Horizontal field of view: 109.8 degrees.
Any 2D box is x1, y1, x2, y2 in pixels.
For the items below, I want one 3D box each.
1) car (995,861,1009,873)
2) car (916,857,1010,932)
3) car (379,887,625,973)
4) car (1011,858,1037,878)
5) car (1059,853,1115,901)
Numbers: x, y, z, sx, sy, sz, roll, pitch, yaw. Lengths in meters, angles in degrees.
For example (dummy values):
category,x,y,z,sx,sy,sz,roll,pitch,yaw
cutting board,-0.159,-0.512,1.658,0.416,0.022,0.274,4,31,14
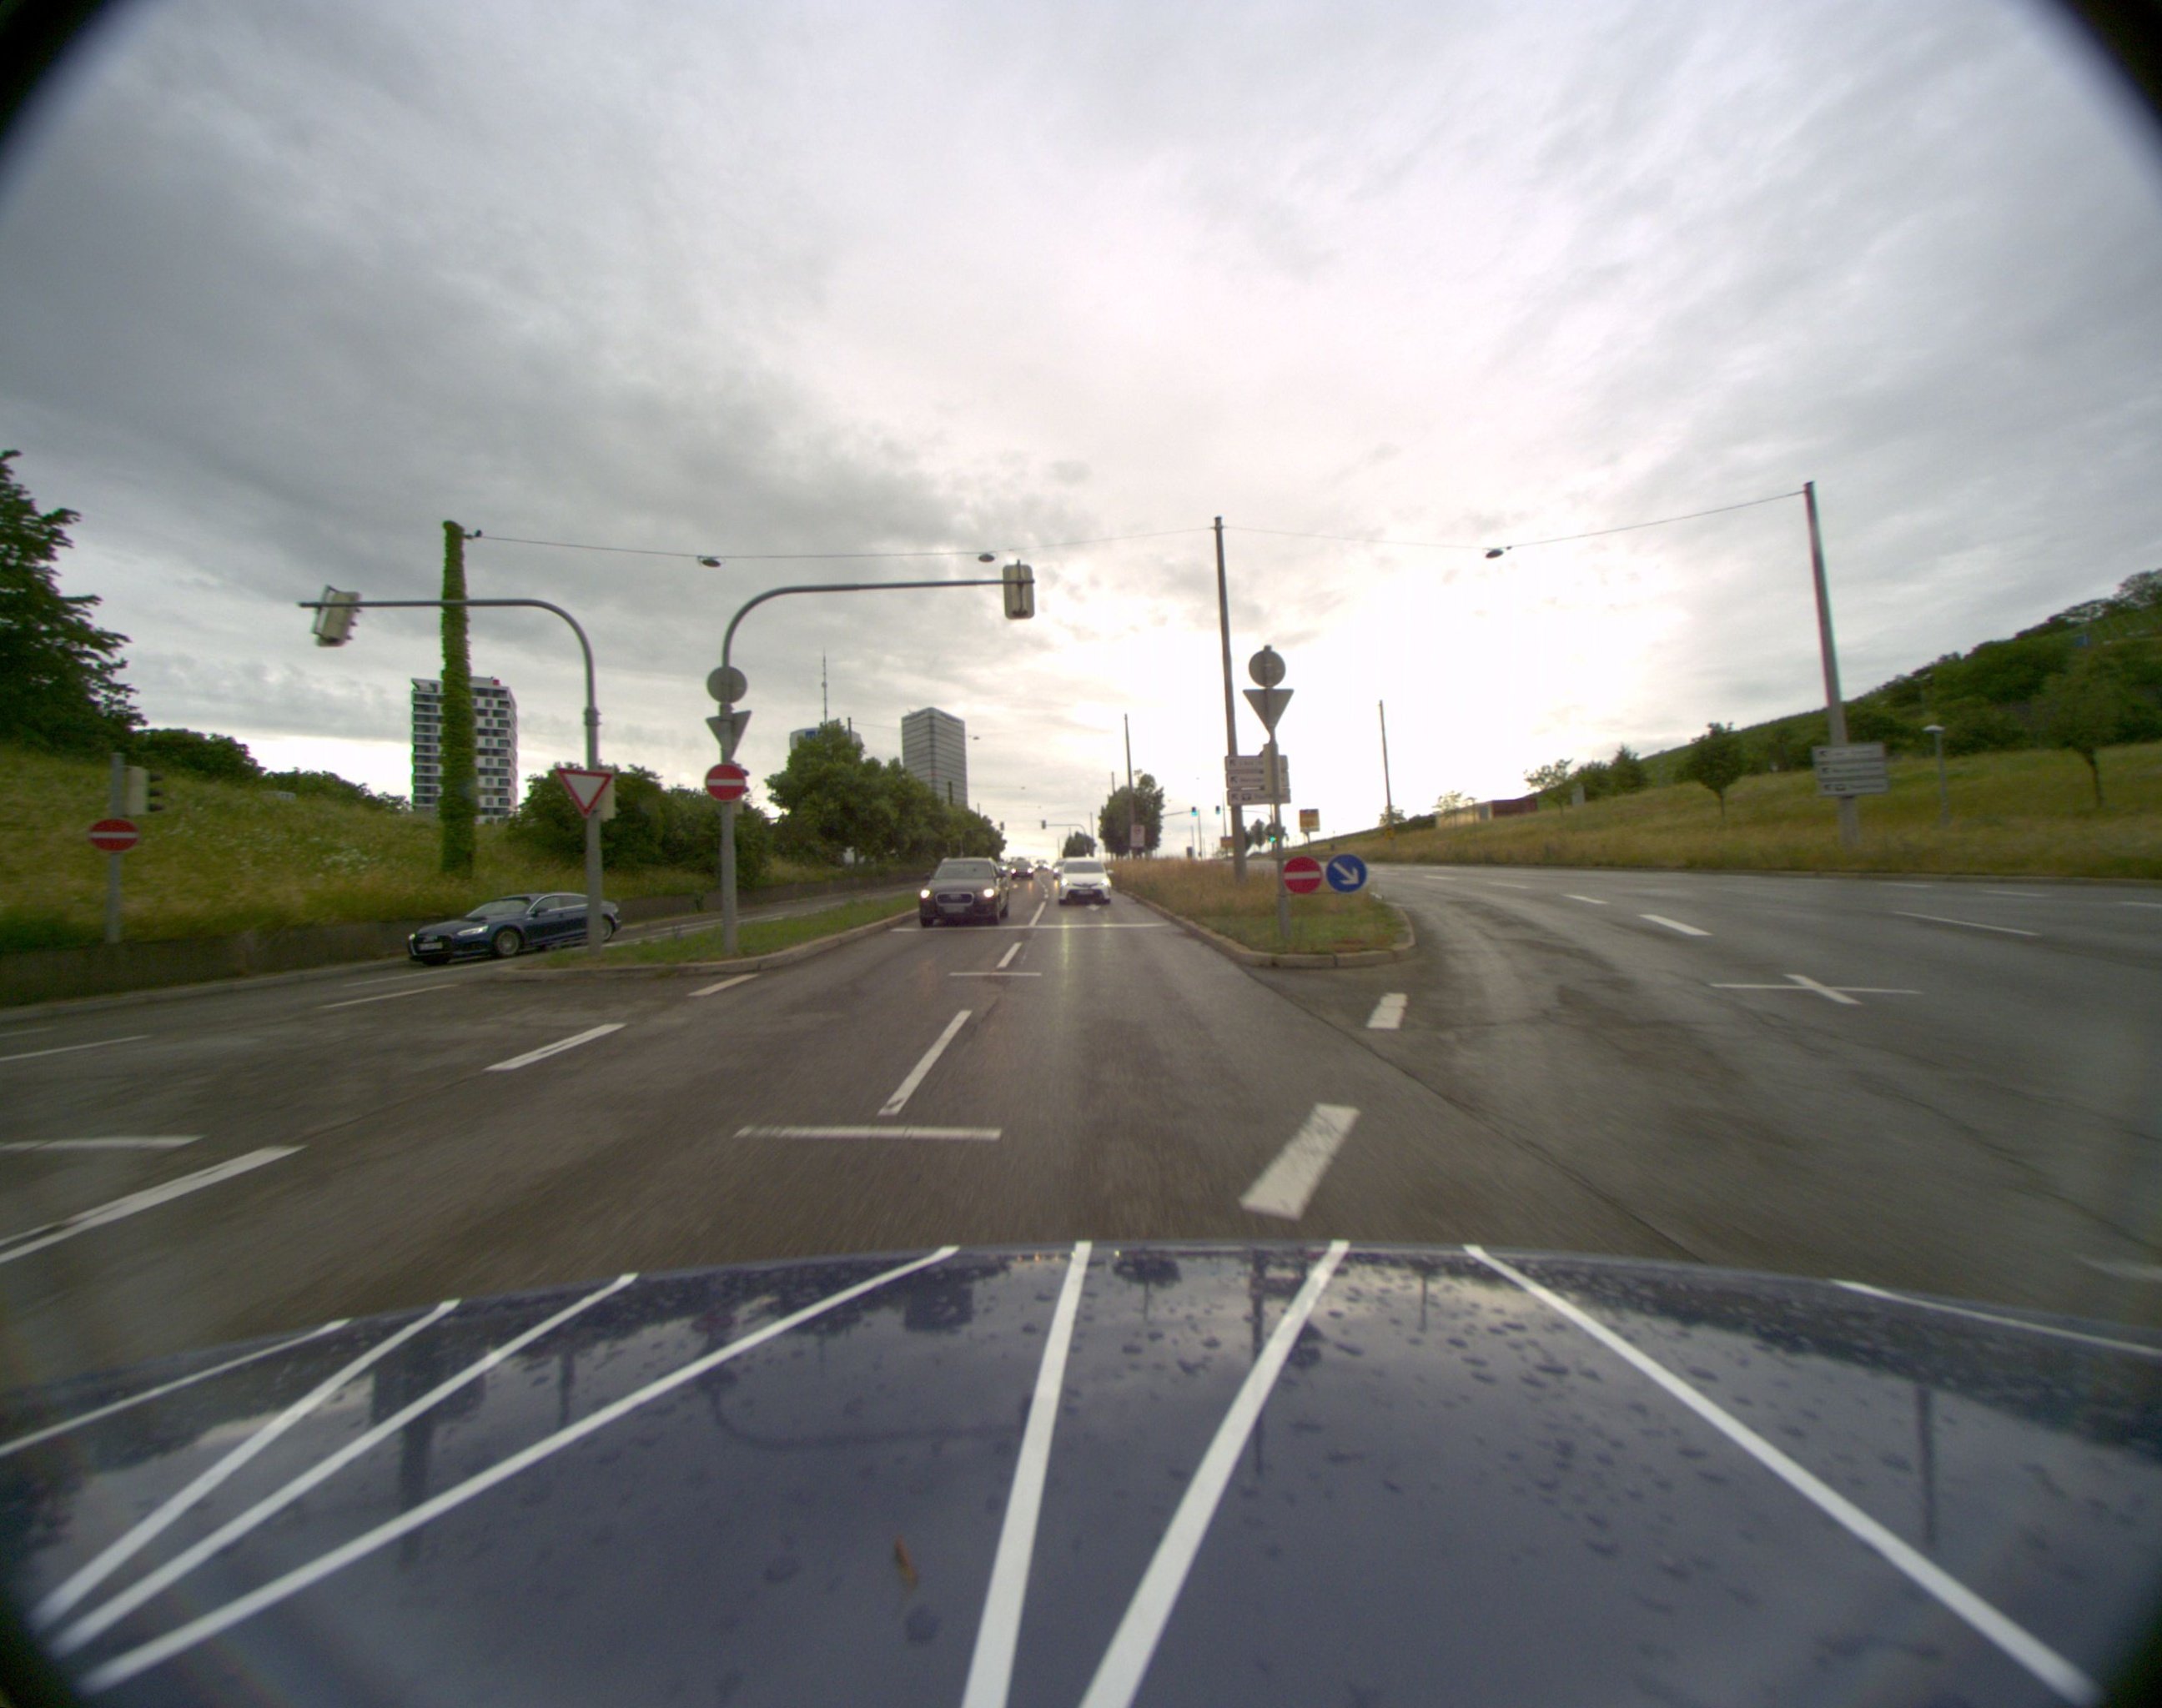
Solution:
category,x,y,z,sx,sy,sz,roll,pitch,yaw
car,-11.109,1.854,106.631,1.636,1.466,3.676,-2,-3,-8
car,-2.790,0.901,18.838,1.730,1.525,4.125,-2,1,-2
car,-12.850,1.615,17.307,1.875,1.417,4.350,-3,1,7
car,-4.505,1.106,60.430,1.730,1.463,4.264,-2,-1,-1
car,0.252,0.764,27.057,1.827,1.574,4.298,0,0,2
